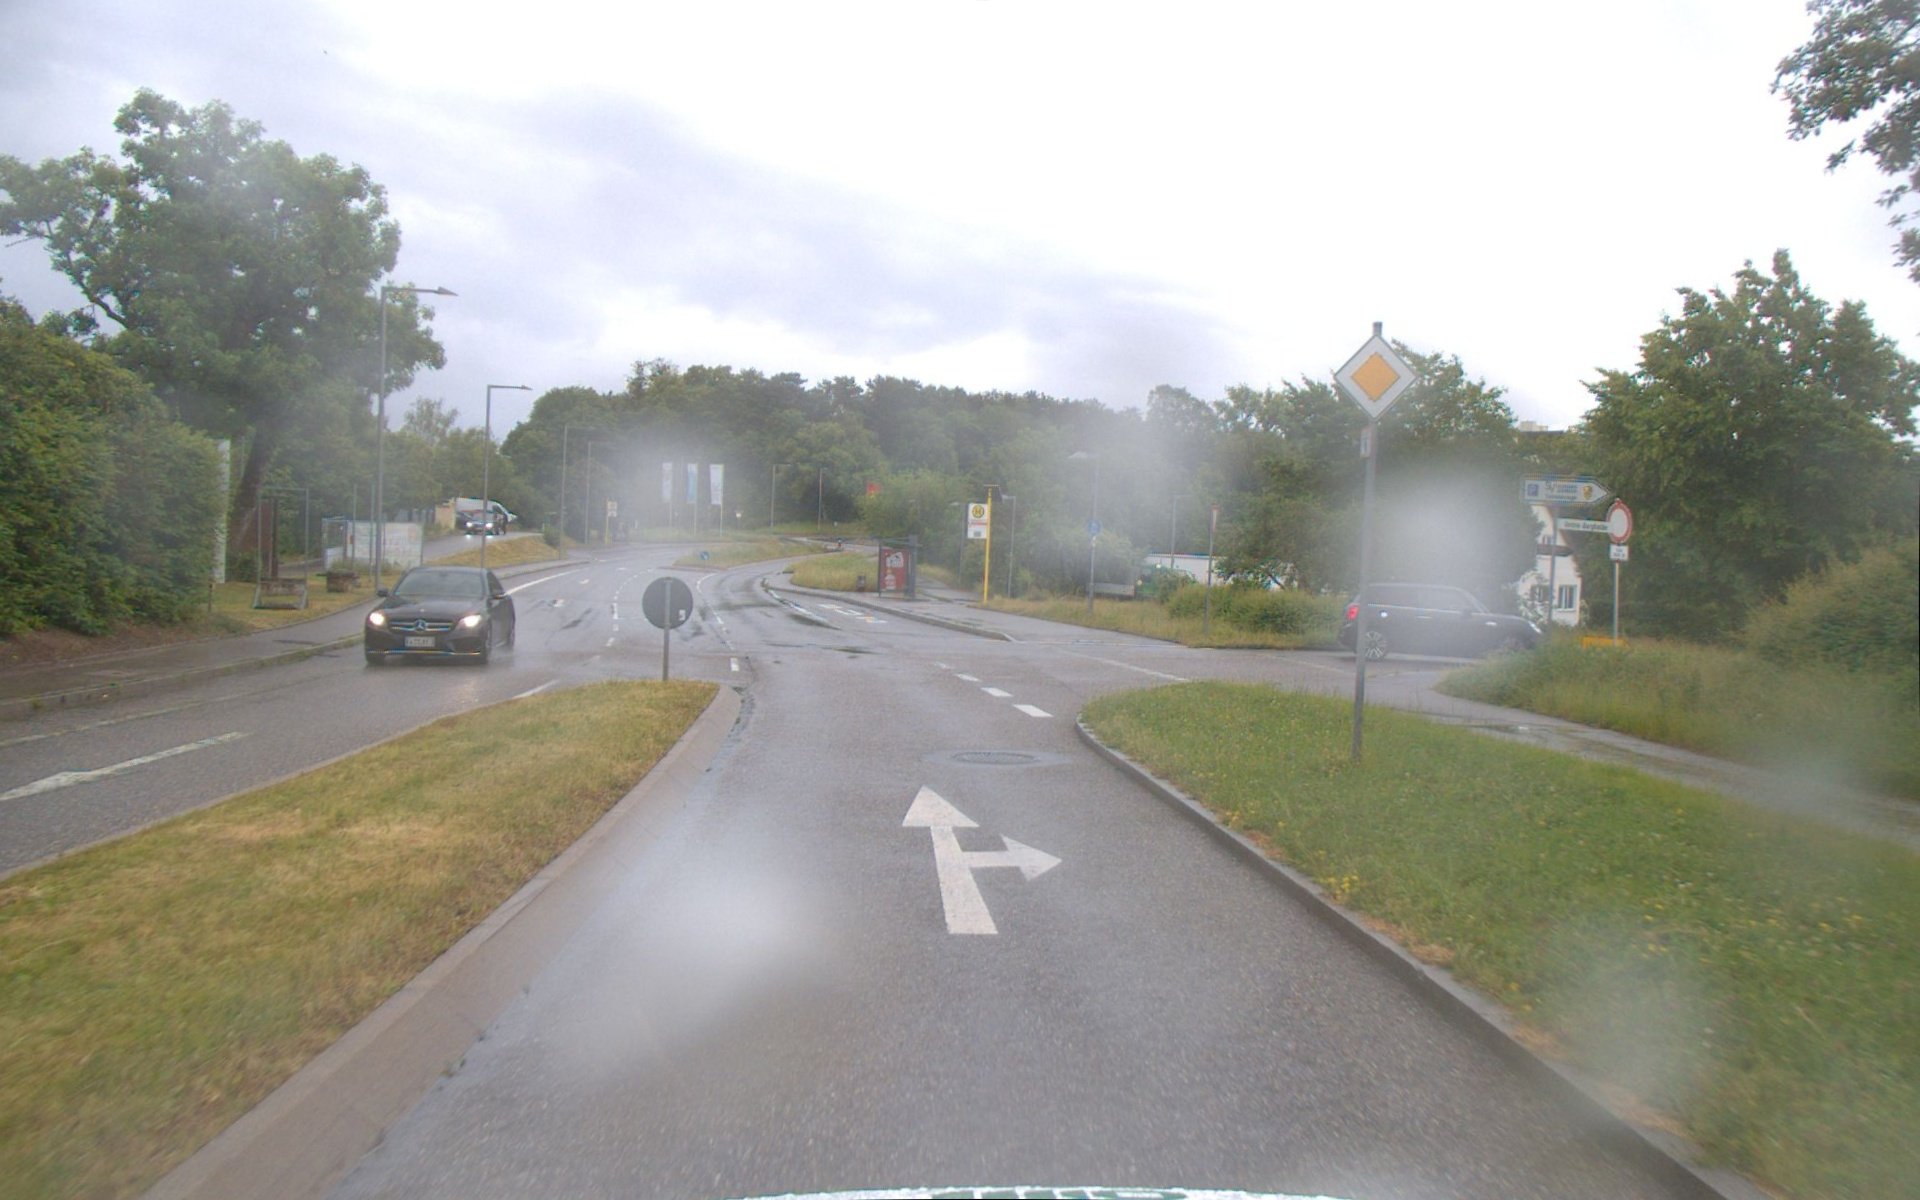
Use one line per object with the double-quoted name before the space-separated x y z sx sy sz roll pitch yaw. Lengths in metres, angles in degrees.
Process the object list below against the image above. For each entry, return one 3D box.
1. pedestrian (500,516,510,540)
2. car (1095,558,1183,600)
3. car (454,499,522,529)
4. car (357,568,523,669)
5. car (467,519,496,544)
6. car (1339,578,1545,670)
"pedestrian" -32.516 -5.161 118.244 0.558 1.648 0.633 1 0 -22
"car" 8.094 -0.955 74.822 3.359 1.720 1.990 1 -3 40
"car" -42.177 -7.667 147.934 5.573 2.446 1.995 2 0 -10
"car" -8.108 0.224 26.182 1.932 1.438 4.405 0 1 -10
"car" -33.902 -4.838 117.169 1.664 1.648 3.870 1 1 -21
"car" 8.777 0.416 30.285 3.448 1.379 1.460 4 1 15
